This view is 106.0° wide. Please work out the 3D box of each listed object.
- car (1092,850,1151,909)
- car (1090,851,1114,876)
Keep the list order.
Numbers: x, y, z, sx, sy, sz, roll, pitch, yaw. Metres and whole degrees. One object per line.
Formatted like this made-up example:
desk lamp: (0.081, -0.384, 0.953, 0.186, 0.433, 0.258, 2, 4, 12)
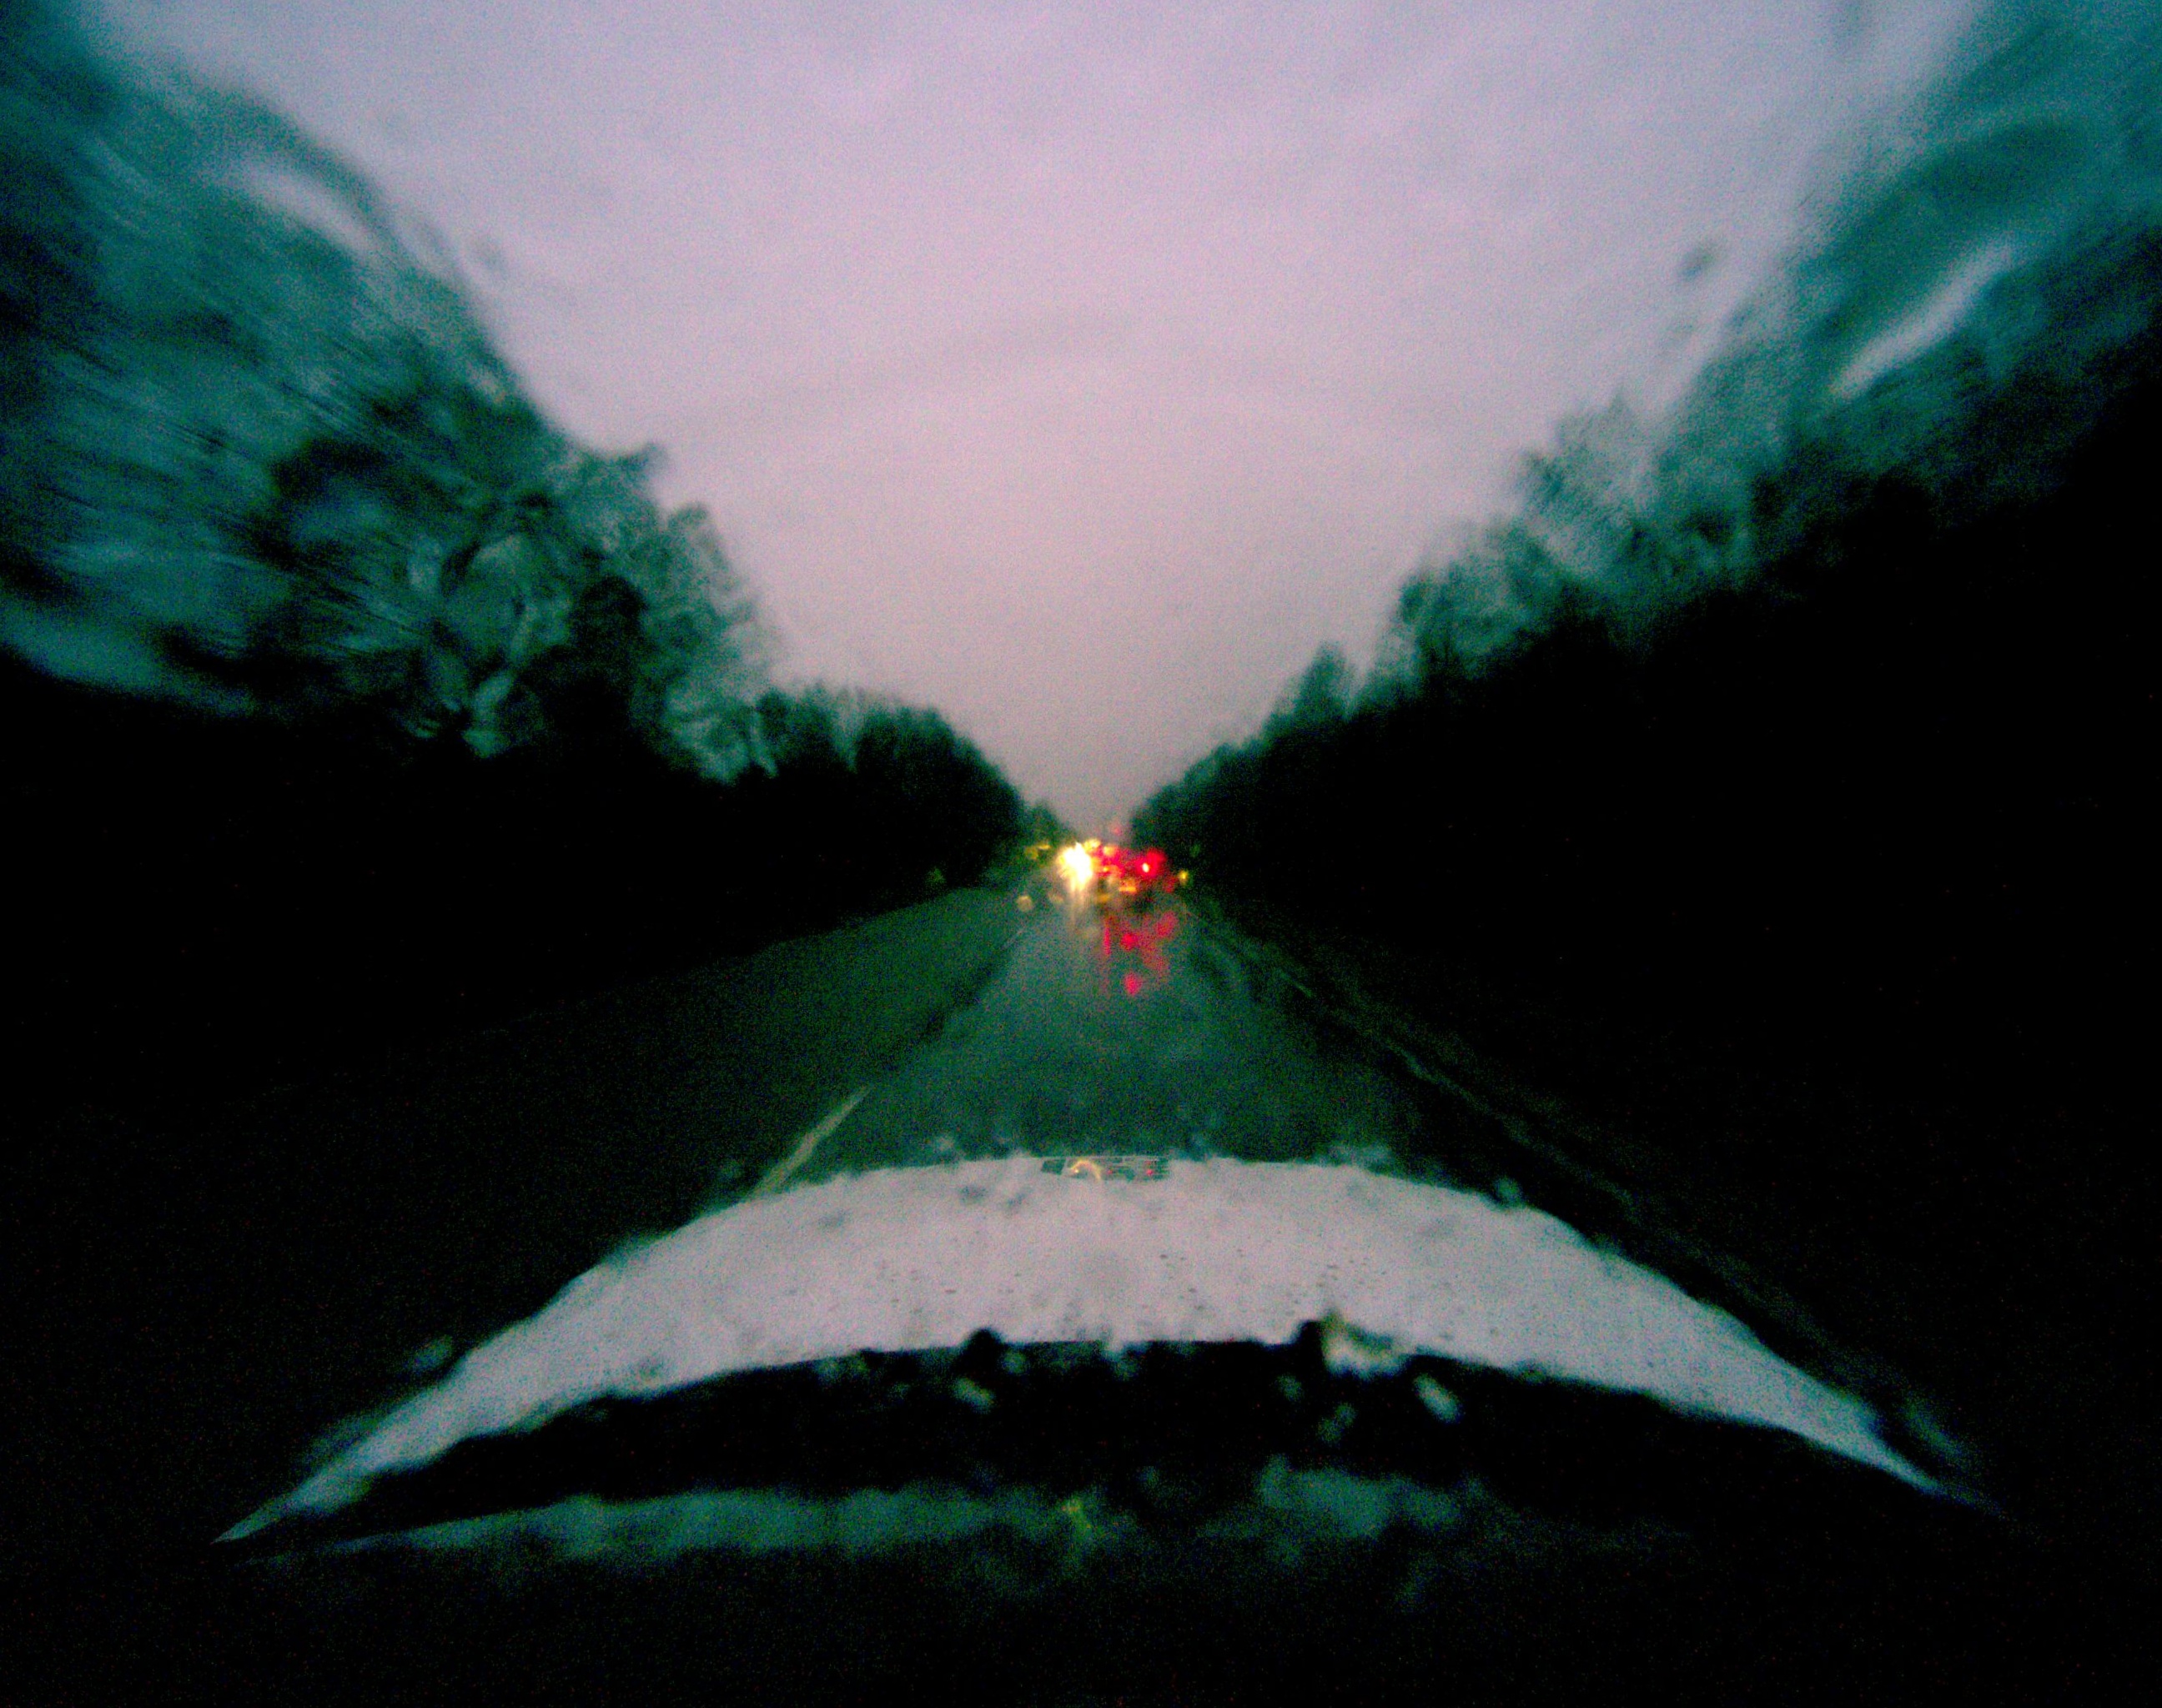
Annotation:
car: (1.239, 0.729, 24.878, 1.641, 1.672, 3.517, -1, 0, 3)
car: (1.564, 0.701, 61.892, 1.727, 1.779, 4.001, -1, 0, 1)
